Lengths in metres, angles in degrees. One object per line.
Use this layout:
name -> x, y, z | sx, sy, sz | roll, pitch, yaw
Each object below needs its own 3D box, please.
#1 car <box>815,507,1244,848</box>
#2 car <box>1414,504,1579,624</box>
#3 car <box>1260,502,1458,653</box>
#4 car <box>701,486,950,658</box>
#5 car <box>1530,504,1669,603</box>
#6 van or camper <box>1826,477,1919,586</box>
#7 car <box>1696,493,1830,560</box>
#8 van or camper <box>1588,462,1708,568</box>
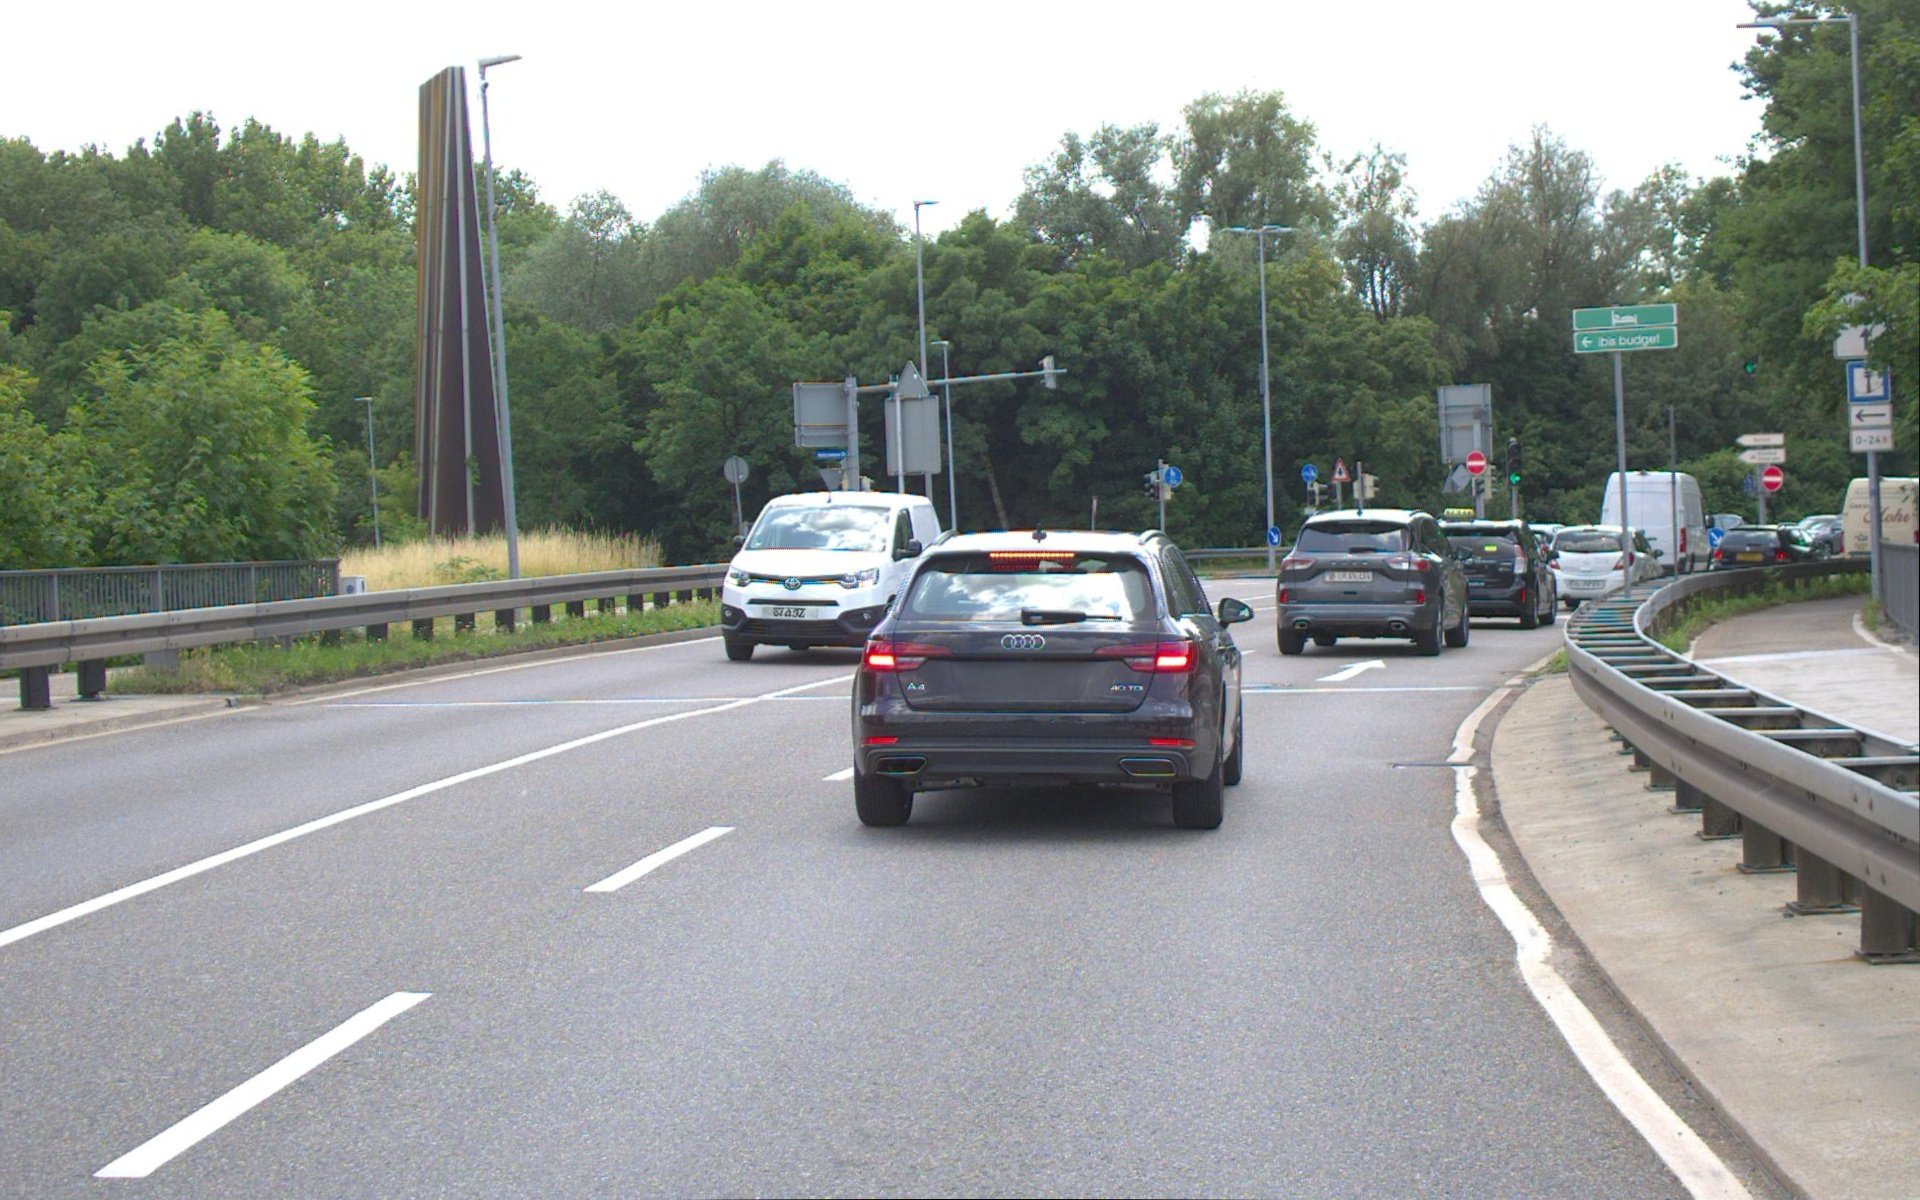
car -> 0.482, 0.295, 17.749 | 1.828, 1.486, 4.206 | 0, 2, 6
car -> 7.716, -0.542, 49.172 | 1.735, 1.646, 3.852 | 0, 2, 18
car -> 4.662, -0.304, 39.765 | 1.822, 1.646, 3.854 | 1, 2, 13
car -> -1.402, -0.345, 37.559 | 1.814, 1.748, 4.304 | 1, 2, 10
car -> 11.090, -0.785, 59.467 | 1.735, 1.646, 3.852 | 1, 0, 20
van or camper -> 22.923, -1.706, 84.297 | 1.997, 2.581, 4.082 | 2, 3, 33
car -> 17.101, -1.555, 73.116 | 1.686, 1.393, 3.672 | 0, 1, 32
van or camper -> 15.902, -1.932, 79.279 | 2.274, 2.332, 5.237 | 1, 1, 16
